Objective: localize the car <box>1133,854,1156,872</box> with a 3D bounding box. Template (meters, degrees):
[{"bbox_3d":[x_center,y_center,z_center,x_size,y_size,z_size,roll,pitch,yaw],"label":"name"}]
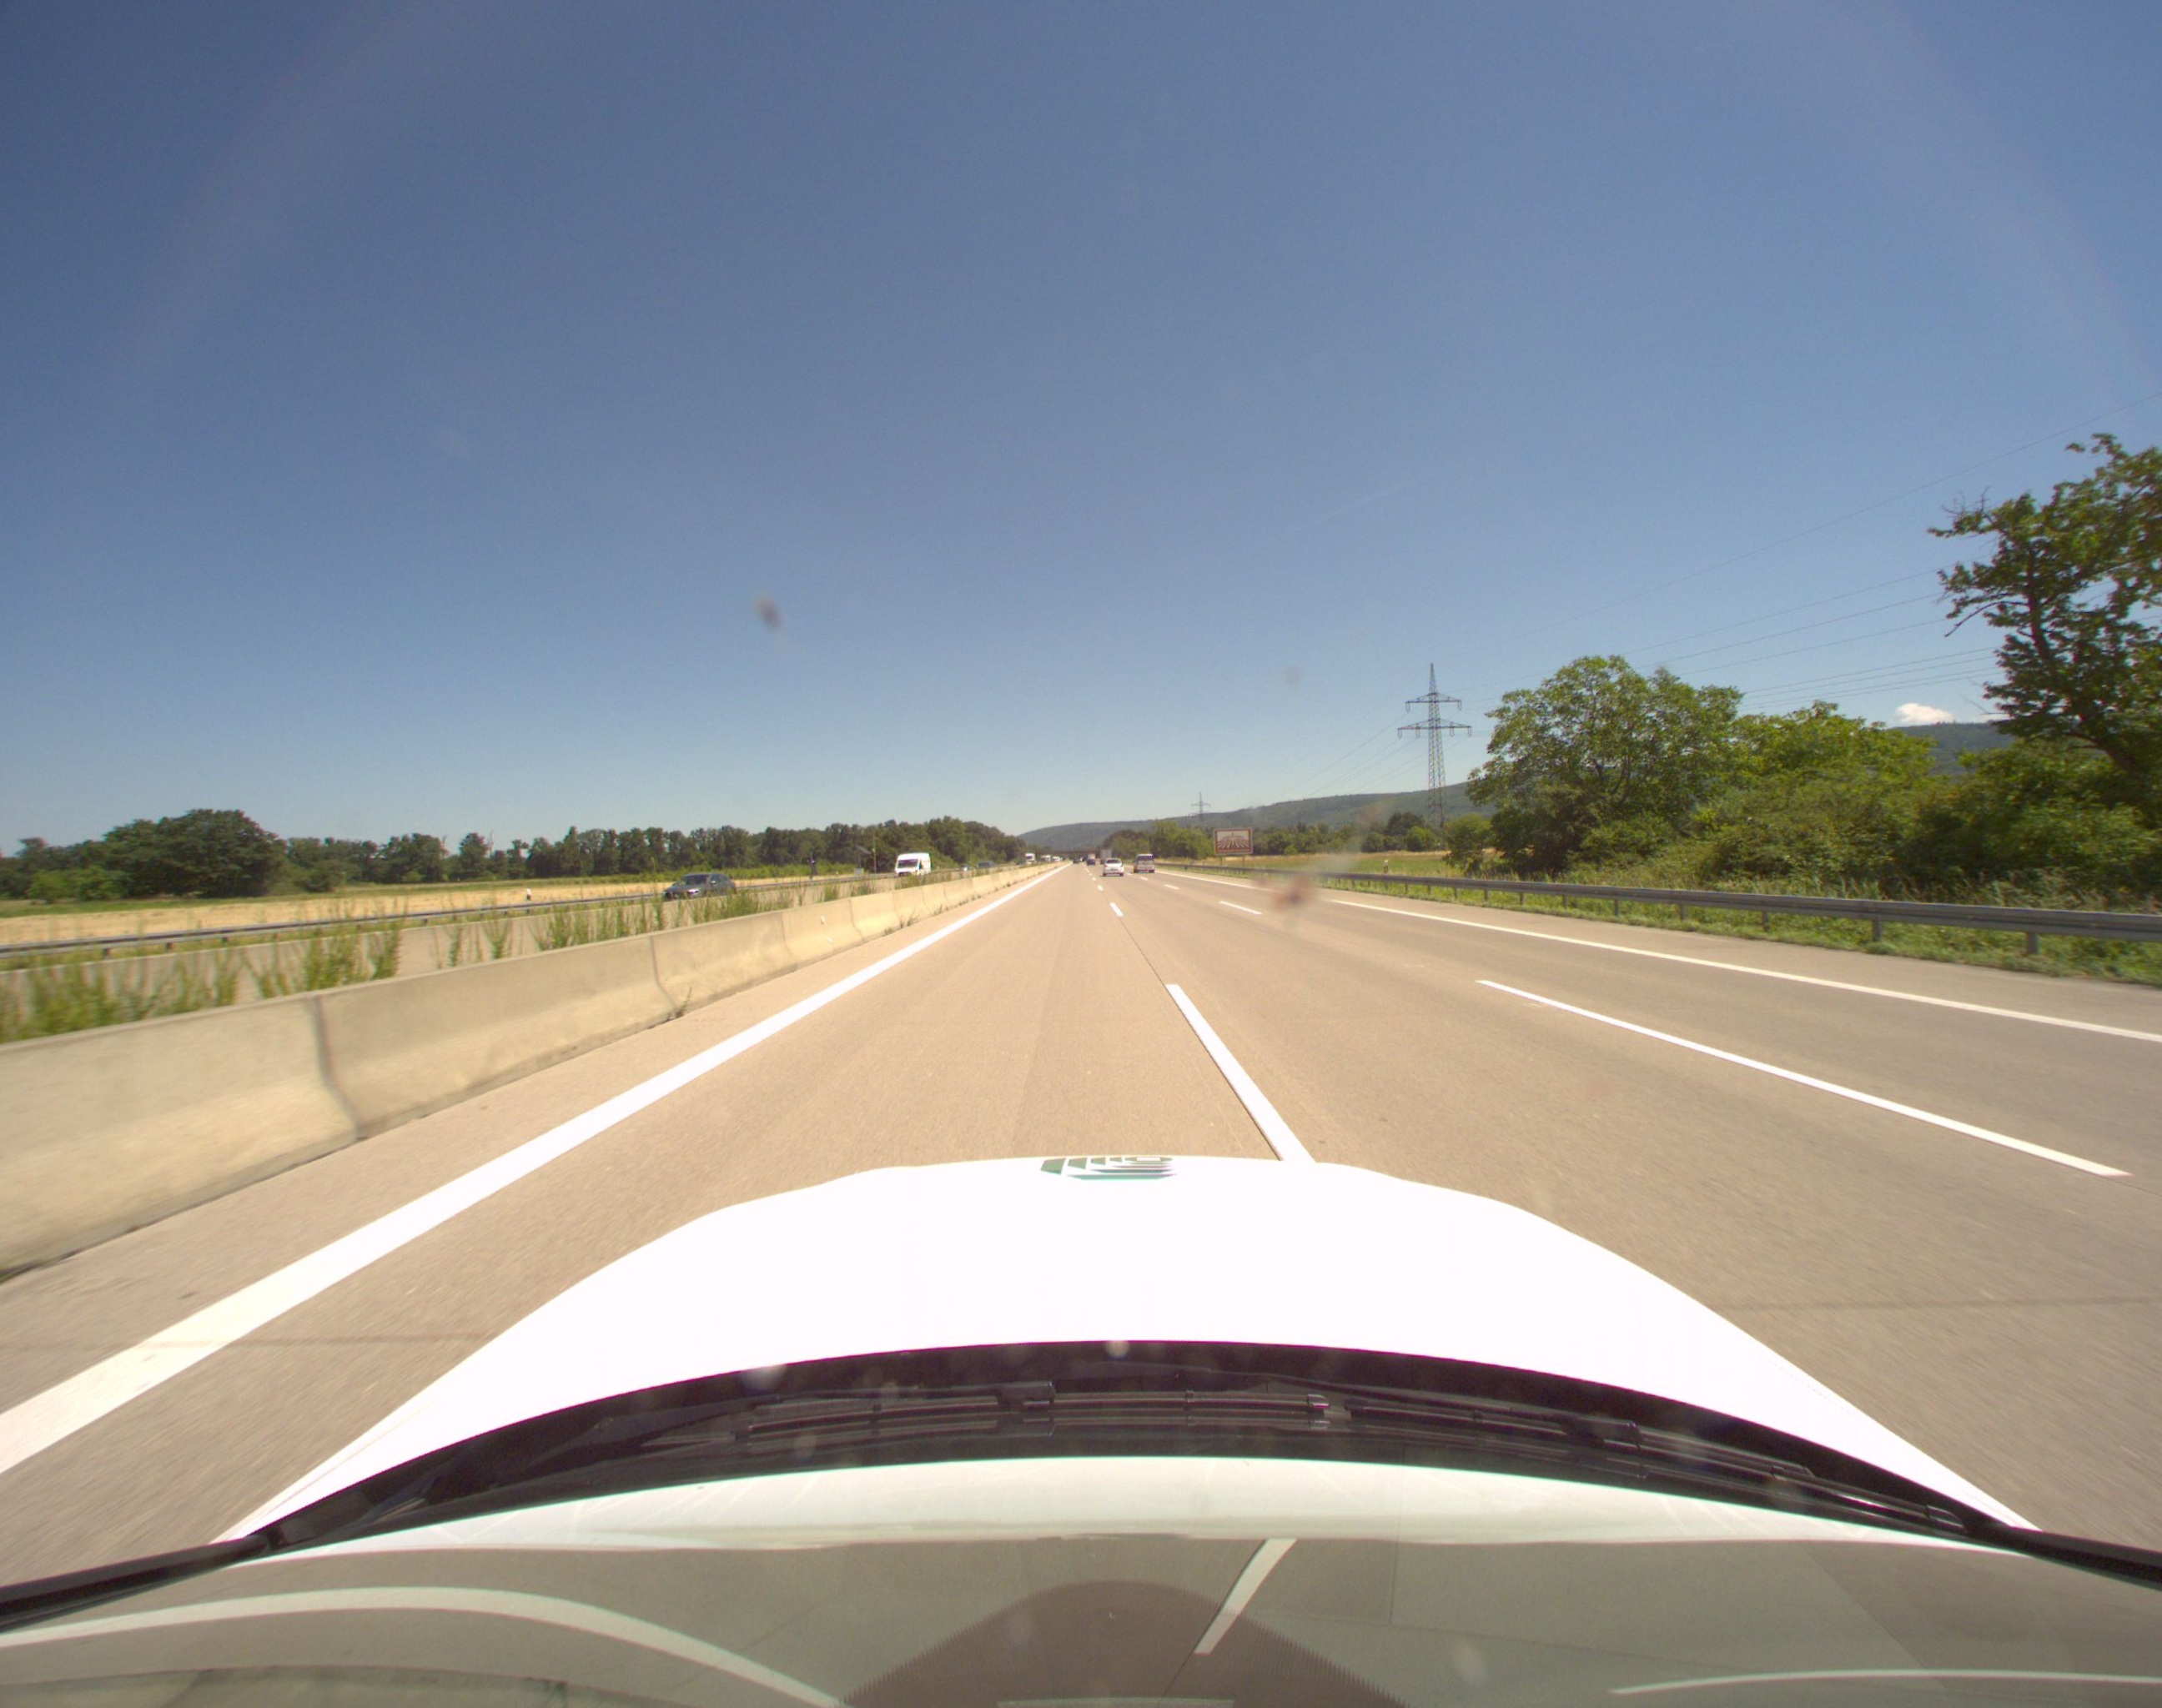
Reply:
[{"bbox_3d":[6.513,0.897,83.924,1.987,1.849,3.998,0,0,-1],"label":"car"}]

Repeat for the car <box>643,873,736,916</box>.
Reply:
[{"bbox_3d":[-17.195,1.732,36.034,1.748,1.684,4.842,0,0,0],"label":"car"}]

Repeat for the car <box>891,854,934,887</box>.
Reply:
[{"bbox_3d":[-13.523,1.290,65.698,2.205,2.520,6.123,0,0,0],"label":"car"}]

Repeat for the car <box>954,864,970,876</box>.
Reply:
[{"bbox_3d":[-18.056,2.461,124.028,1.989,1.783,3.996,0,0,-2],"label":"car"}]

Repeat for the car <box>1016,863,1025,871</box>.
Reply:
[{"bbox_3d":[-14.699,3.083,198.036,1.989,1.838,4.811,0,0,-3],"label":"car"}]

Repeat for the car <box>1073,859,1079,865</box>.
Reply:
[{"bbox_3d":[-1.426,2.389,237.708,1.923,1.794,3.998,0,0,-1],"label":"car"}]

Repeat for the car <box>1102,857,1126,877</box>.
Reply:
[{"bbox_3d":[2.805,1.090,69.911,1.814,1.662,3.999,-1,0,-1],"label":"car"}]

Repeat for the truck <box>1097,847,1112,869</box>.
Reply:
[{"bbox_3d":[6.301,1.063,220.884,3.711,5.811,7.049,0,0,-2],"label":"truck"}]

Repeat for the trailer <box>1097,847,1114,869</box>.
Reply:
[{"bbox_3d":[6.473,1.044,214.845,3.711,5.811,12.153,0,0,-1],"label":"trailer"}]

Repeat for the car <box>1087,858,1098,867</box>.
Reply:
[{"bbox_3d":[2.470,1.753,175.618,1.988,1.849,3.997,1,0,-2],"label":"car"}]
